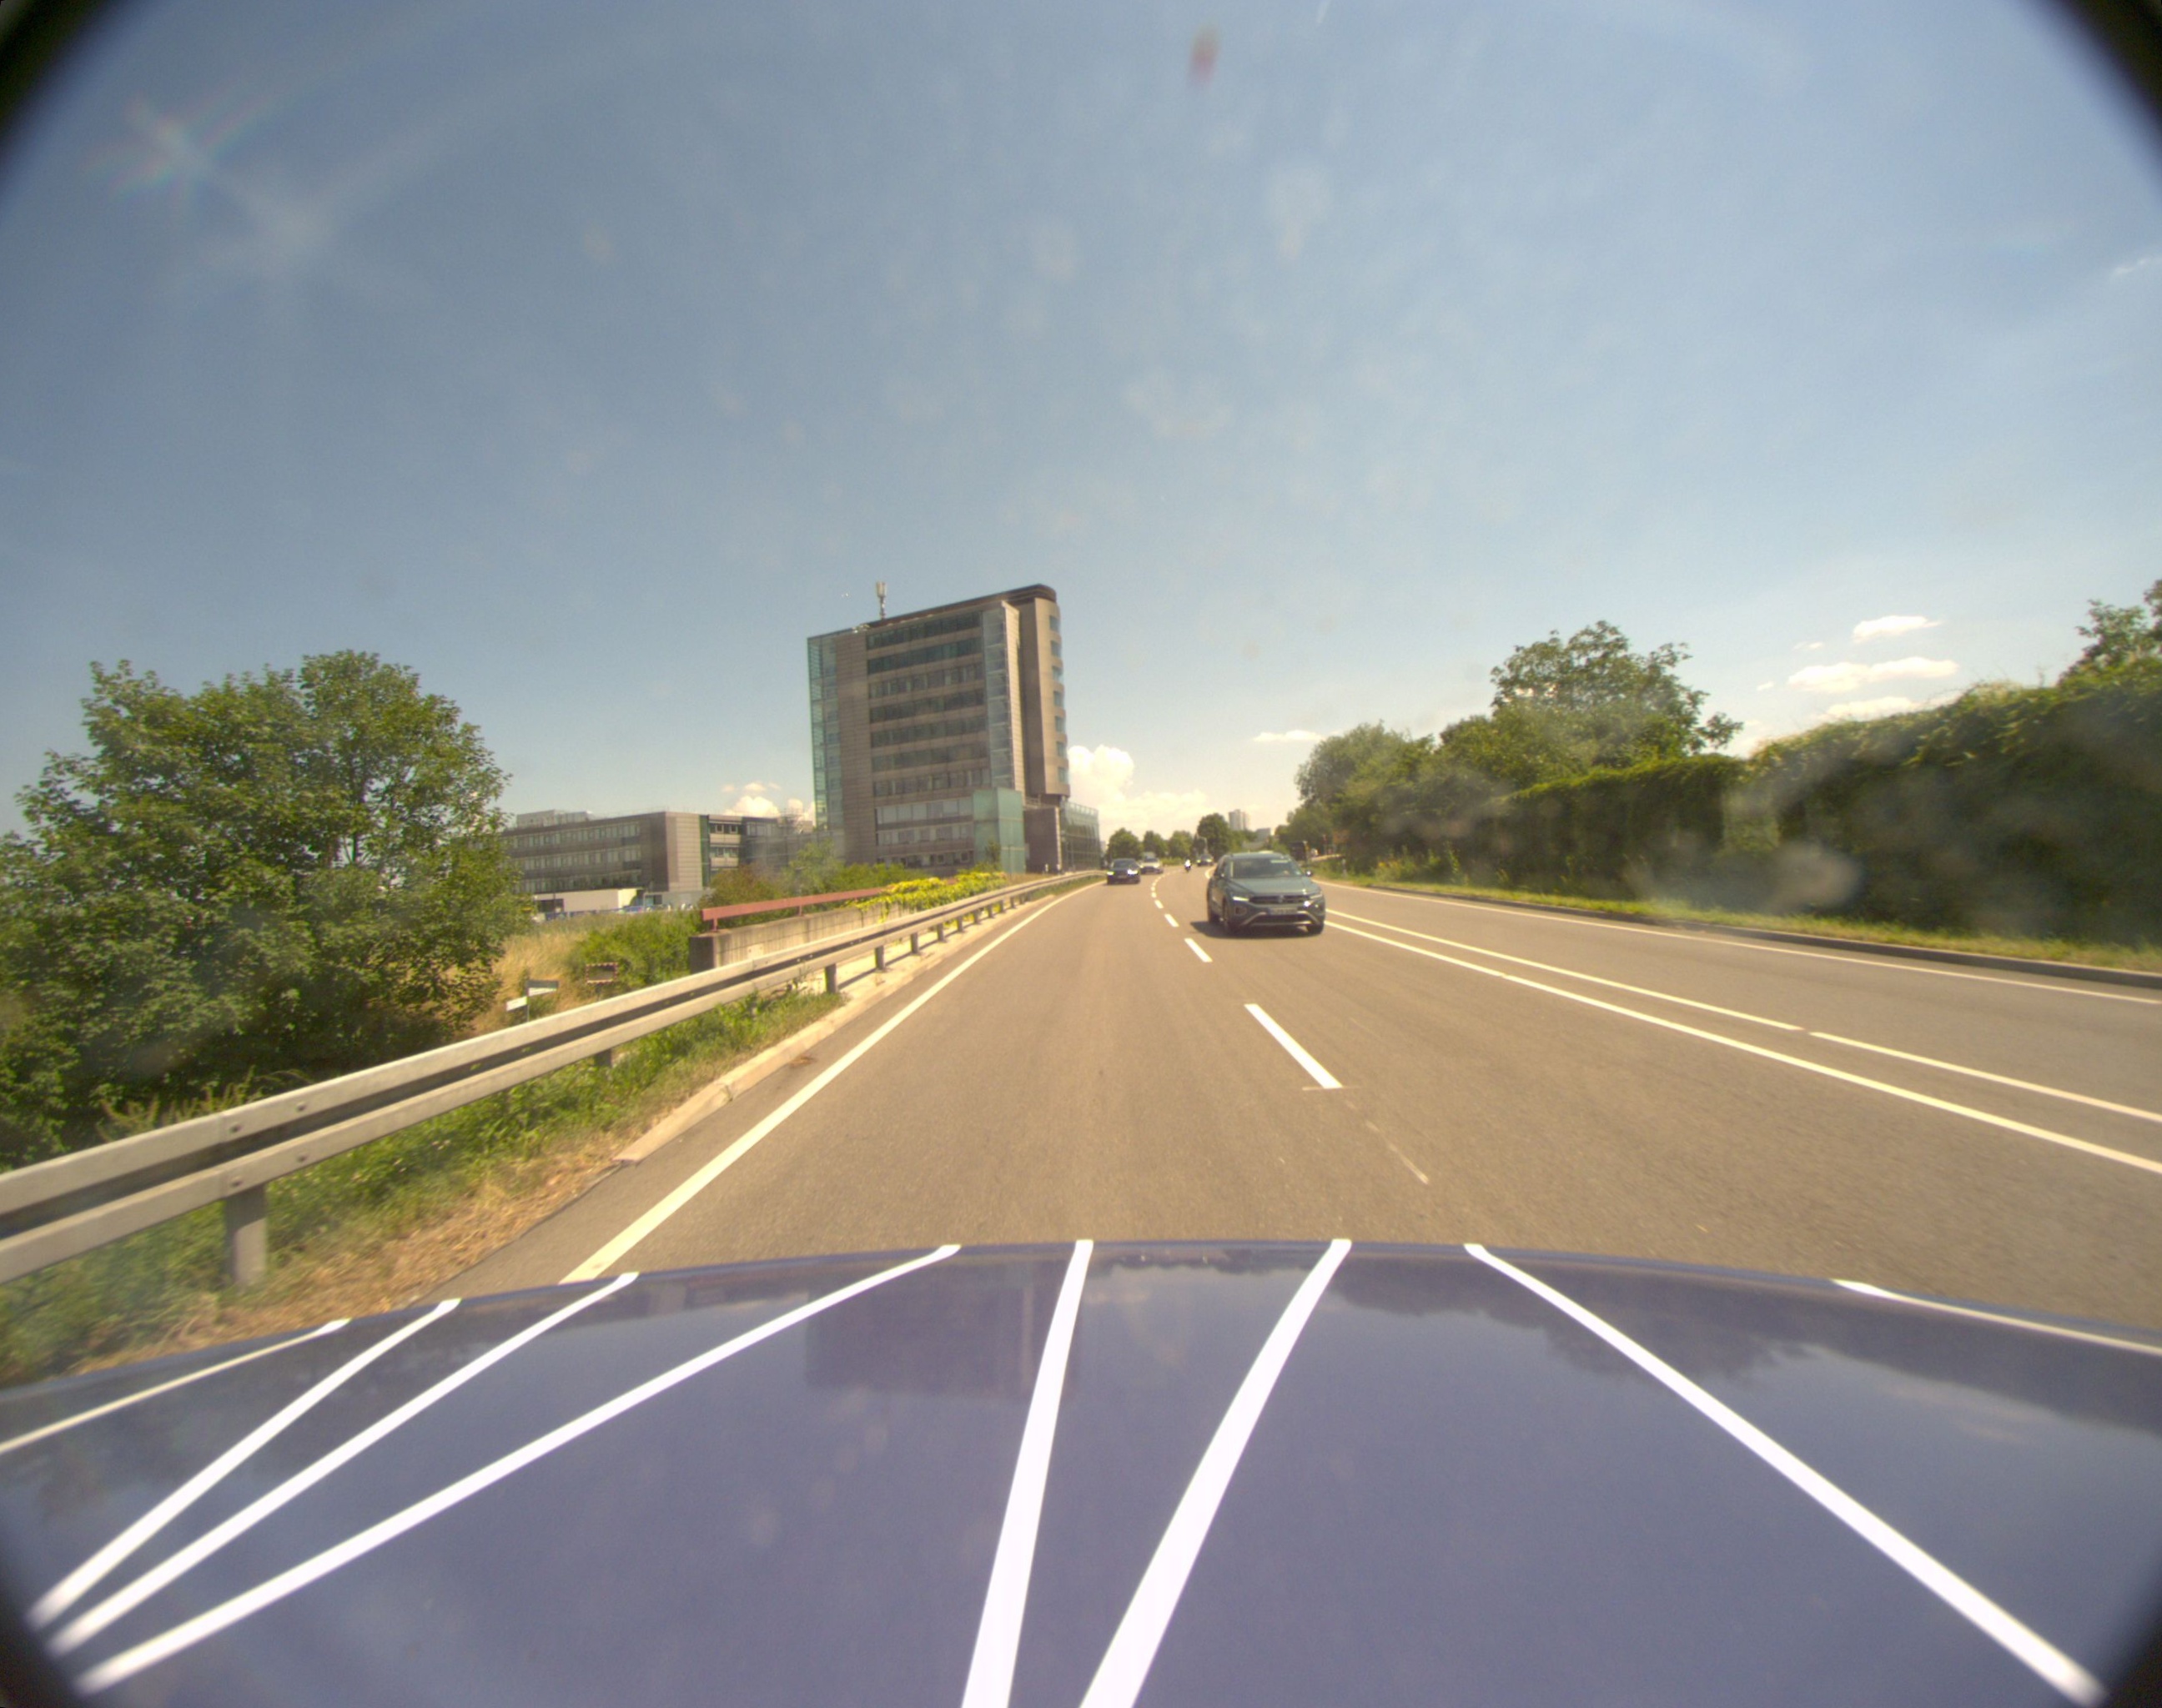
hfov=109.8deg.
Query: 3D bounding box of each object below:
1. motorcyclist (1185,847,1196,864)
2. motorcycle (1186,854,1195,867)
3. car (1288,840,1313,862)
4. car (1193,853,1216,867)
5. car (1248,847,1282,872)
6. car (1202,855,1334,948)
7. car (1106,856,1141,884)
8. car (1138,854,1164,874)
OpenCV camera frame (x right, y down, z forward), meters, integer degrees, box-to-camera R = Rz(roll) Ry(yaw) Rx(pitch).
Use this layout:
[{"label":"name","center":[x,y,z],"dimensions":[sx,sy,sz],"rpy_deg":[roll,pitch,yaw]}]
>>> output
[{"label":"motorcyclist","center":[9.696,0.143,67.409],"dimensions":[0.860,1.479,1.162],"rpy_deg":[-1,0,7]},{"label":"motorcycle","center":[9.691,0.553,67.319],"dimensions":[0.733,1.131,2.074],"rpy_deg":[-1,0,7]},{"label":"car","center":[27.184,-0.413,93.948],"dimensions":[2.190,2.526,6.046],"rpy_deg":[-3,0,22]},{"label":"car","center":[15.338,0.761,94.127],"dimensions":[2.115,1.582,4.456],"rpy_deg":[-2,0,18]},{"label":"car","center":[12.644,0.372,52.322],"dimensions":[1.997,1.619,4.200],"rpy_deg":[-2,0,10]},{"label":"car","center":[3.637,0.842,15.532],"dimensions":[1.839,1.577,4.392],"rpy_deg":[-2,0,4]},{"label":"car","center":[2.530,0.935,44.500],"dimensions":[1.779,1.497,4.563],"rpy_deg":[-2,-1,6]},{"label":"car","center":[6.156,0.919,66.597],"dimensions":[1.932,1.576,4.183],"rpy_deg":[-5,-2,9]}]
